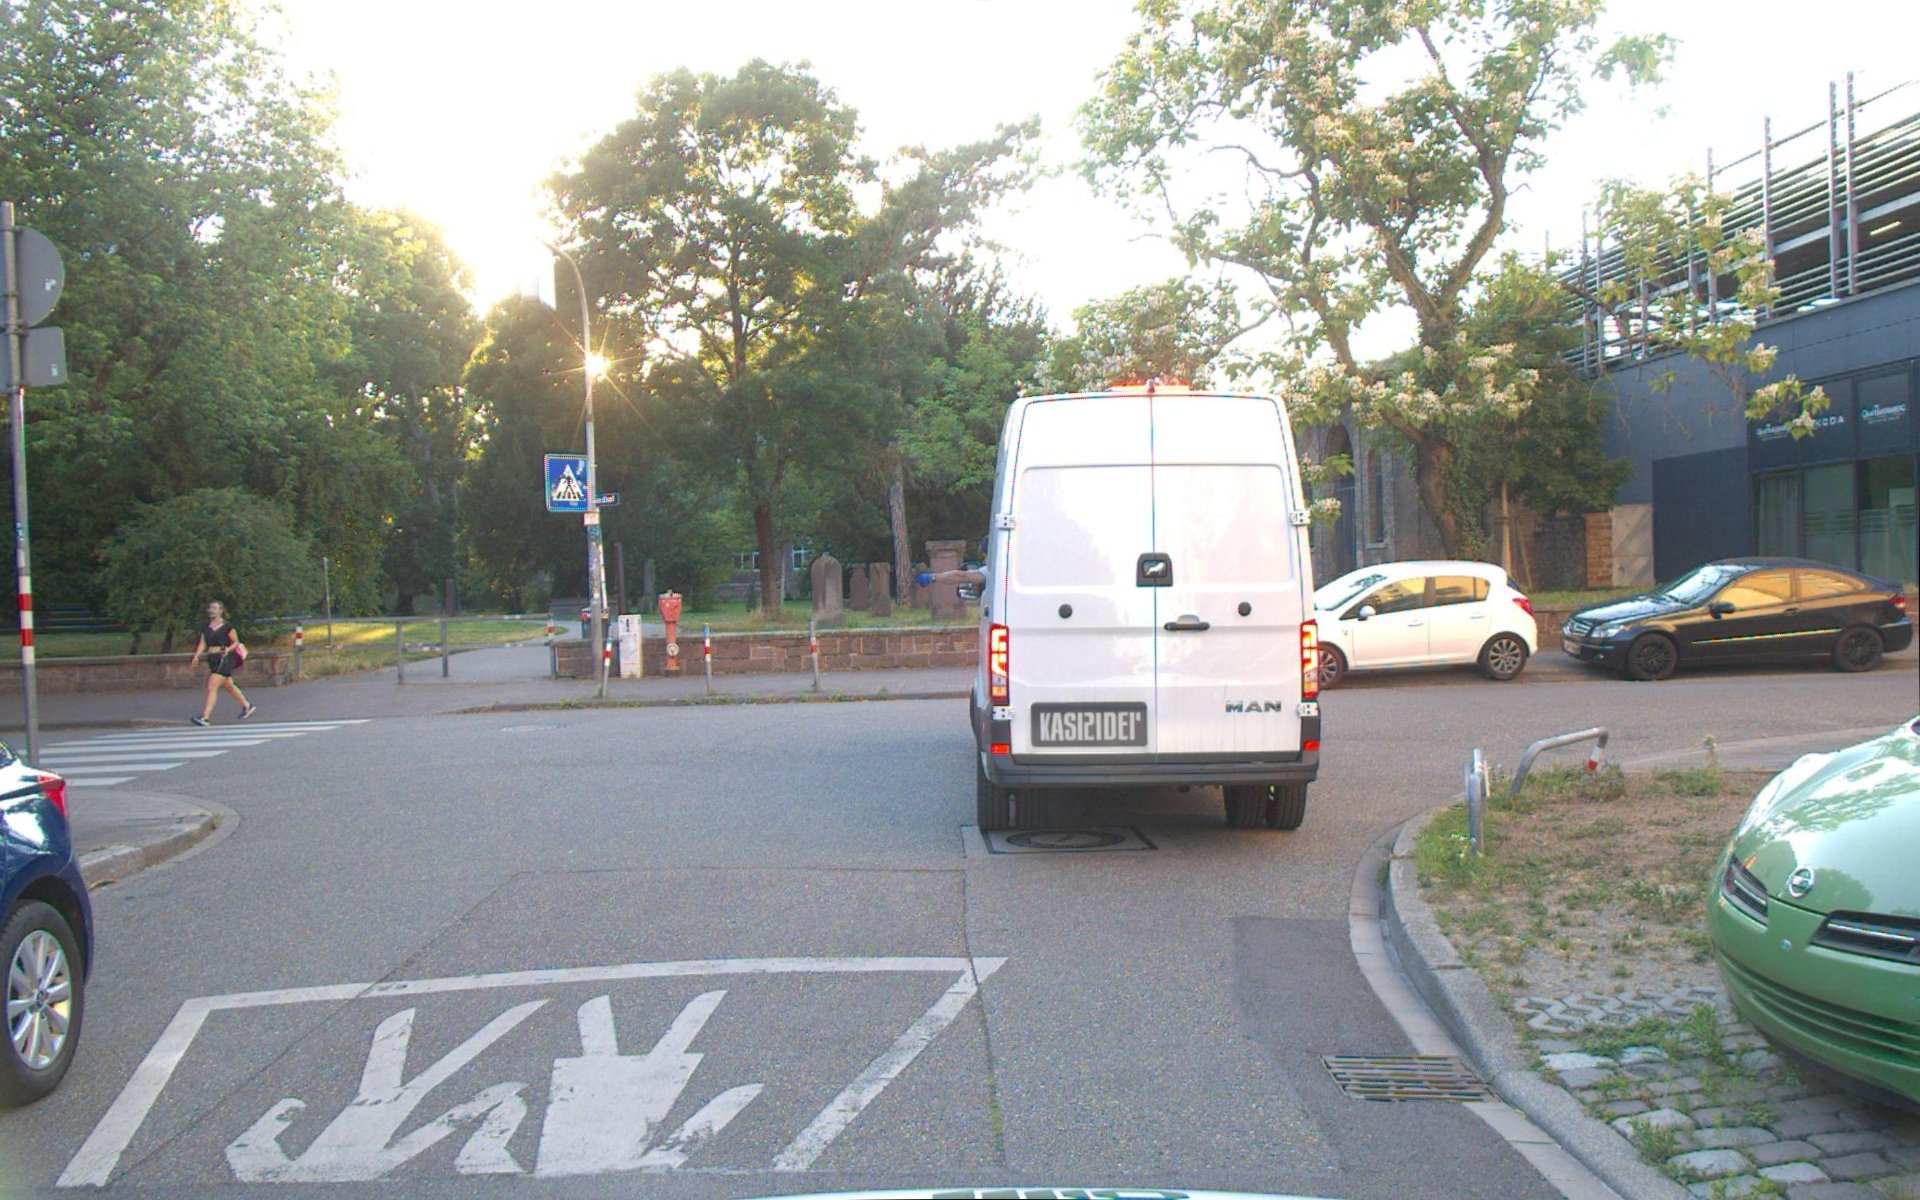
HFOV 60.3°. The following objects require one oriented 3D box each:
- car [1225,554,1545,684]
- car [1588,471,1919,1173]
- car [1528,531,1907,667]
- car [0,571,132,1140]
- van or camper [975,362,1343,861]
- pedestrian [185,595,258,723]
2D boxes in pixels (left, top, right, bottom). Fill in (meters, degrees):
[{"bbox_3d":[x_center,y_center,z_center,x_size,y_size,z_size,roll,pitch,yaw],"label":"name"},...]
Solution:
[{"bbox_3d":[5.688,0.223,22.441,3.779,1.601,1.957,-1,1,-4],"label":"car"},{"bbox_3d":[4.348,0.430,4.746,4.318,1.660,1.844,-3,-1,-5],"label":"car"},{"bbox_3d":[10.064,-0.027,22.215,4.204,1.529,1.824,-3,0,2],"label":"car"},{"bbox_3d":[-3.480,0.773,3.534,1.700,1.594,3.787,-3,1,-5],"label":"car"},{"bbox_3d":[1.211,0.028,12.096,1.952,2.664,6.405,-1,1,3],"label":"van or camper"},{"bbox_3d":[-9.956,0.777,22.302,0.635,1.677,0.671,0,1,35],"label":"pedestrian"}]
